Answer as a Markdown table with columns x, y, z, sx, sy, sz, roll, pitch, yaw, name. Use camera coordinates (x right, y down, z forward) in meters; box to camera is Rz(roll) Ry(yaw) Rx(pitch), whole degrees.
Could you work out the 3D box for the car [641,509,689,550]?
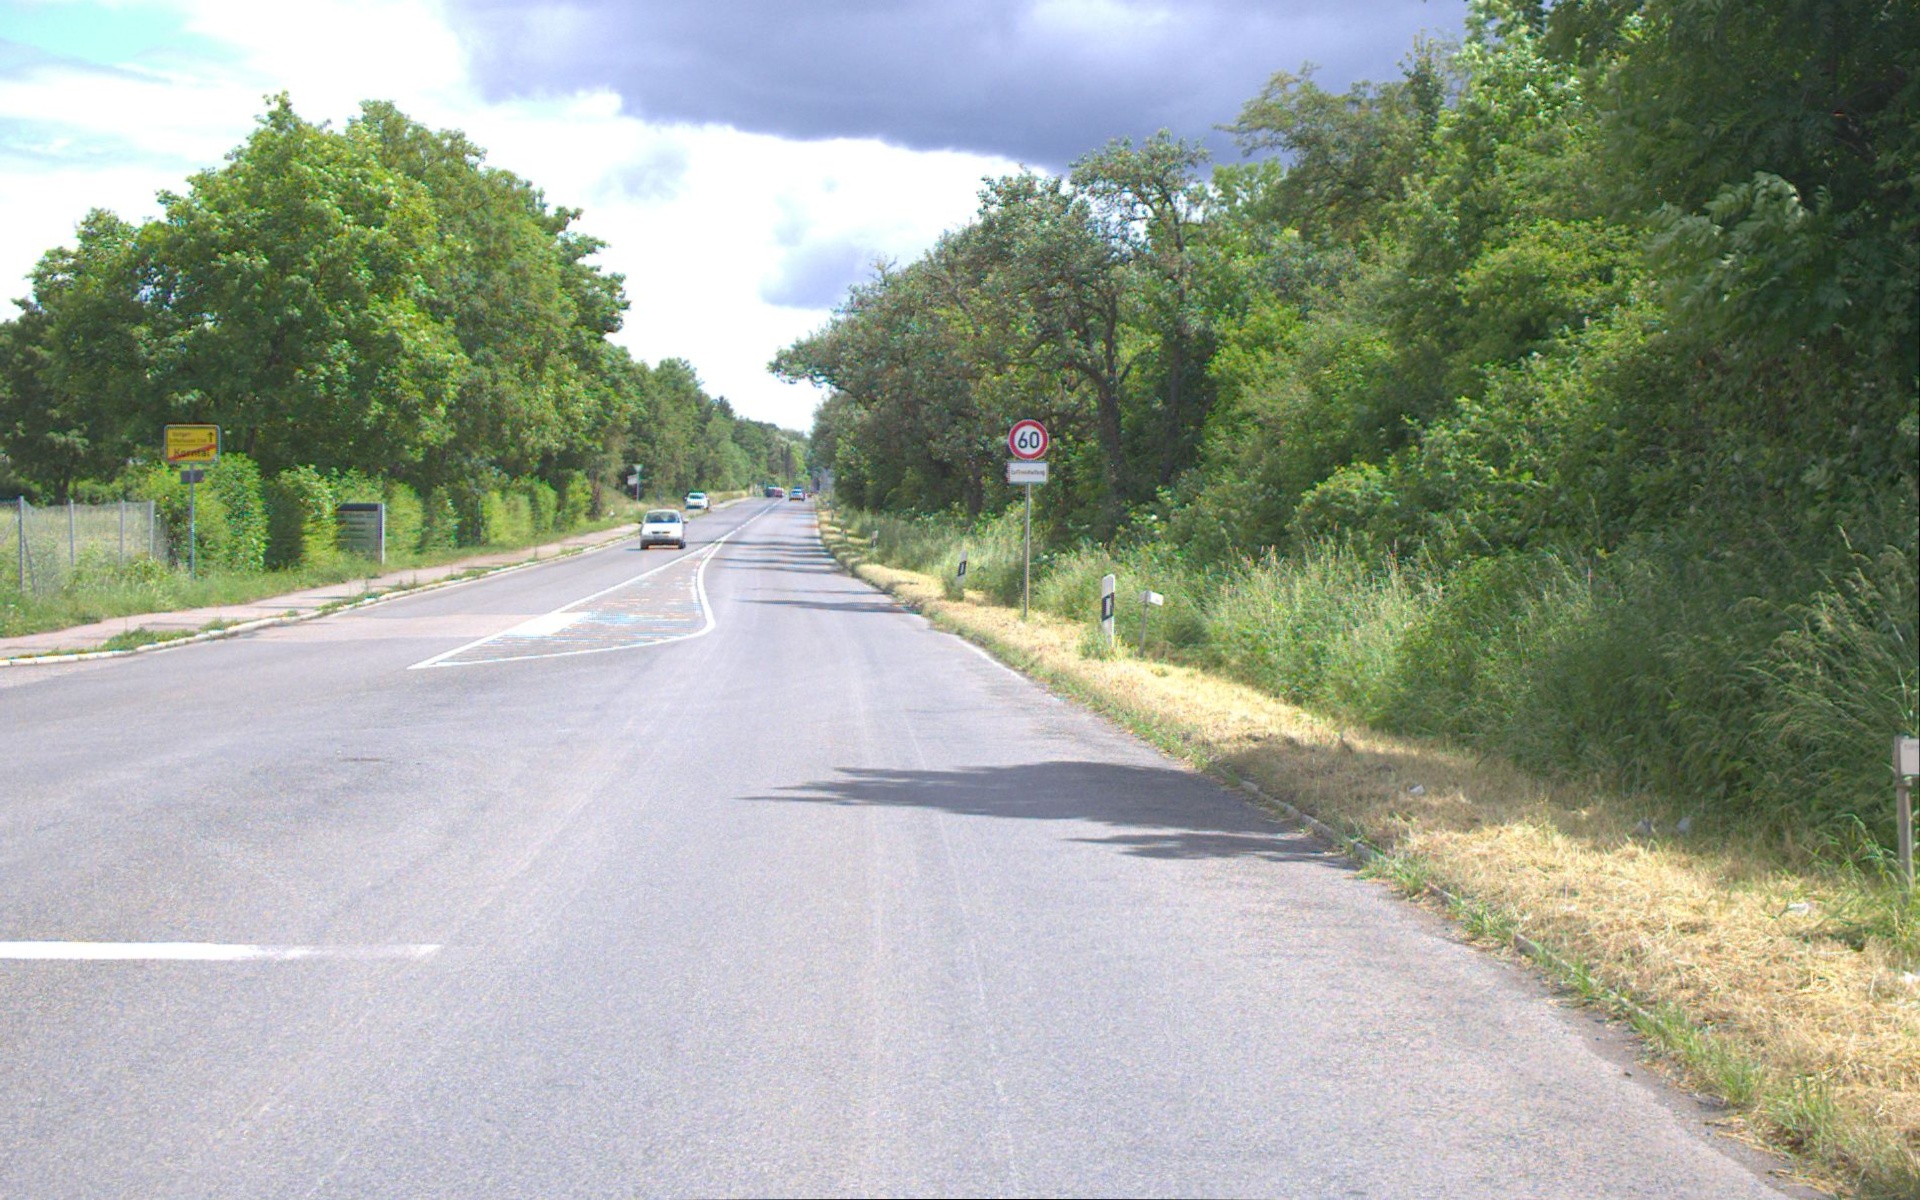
| x | y | z | sx | sy | sz | roll | pitch | yaw | name |
| --- | --- | --- | --- | --- | --- | --- | --- | --- | --- |
| -10.811 | -2.602 | 126.121 | 1.660 | 1.427 | 3.693 | -1 | 2 | -4 | car |
